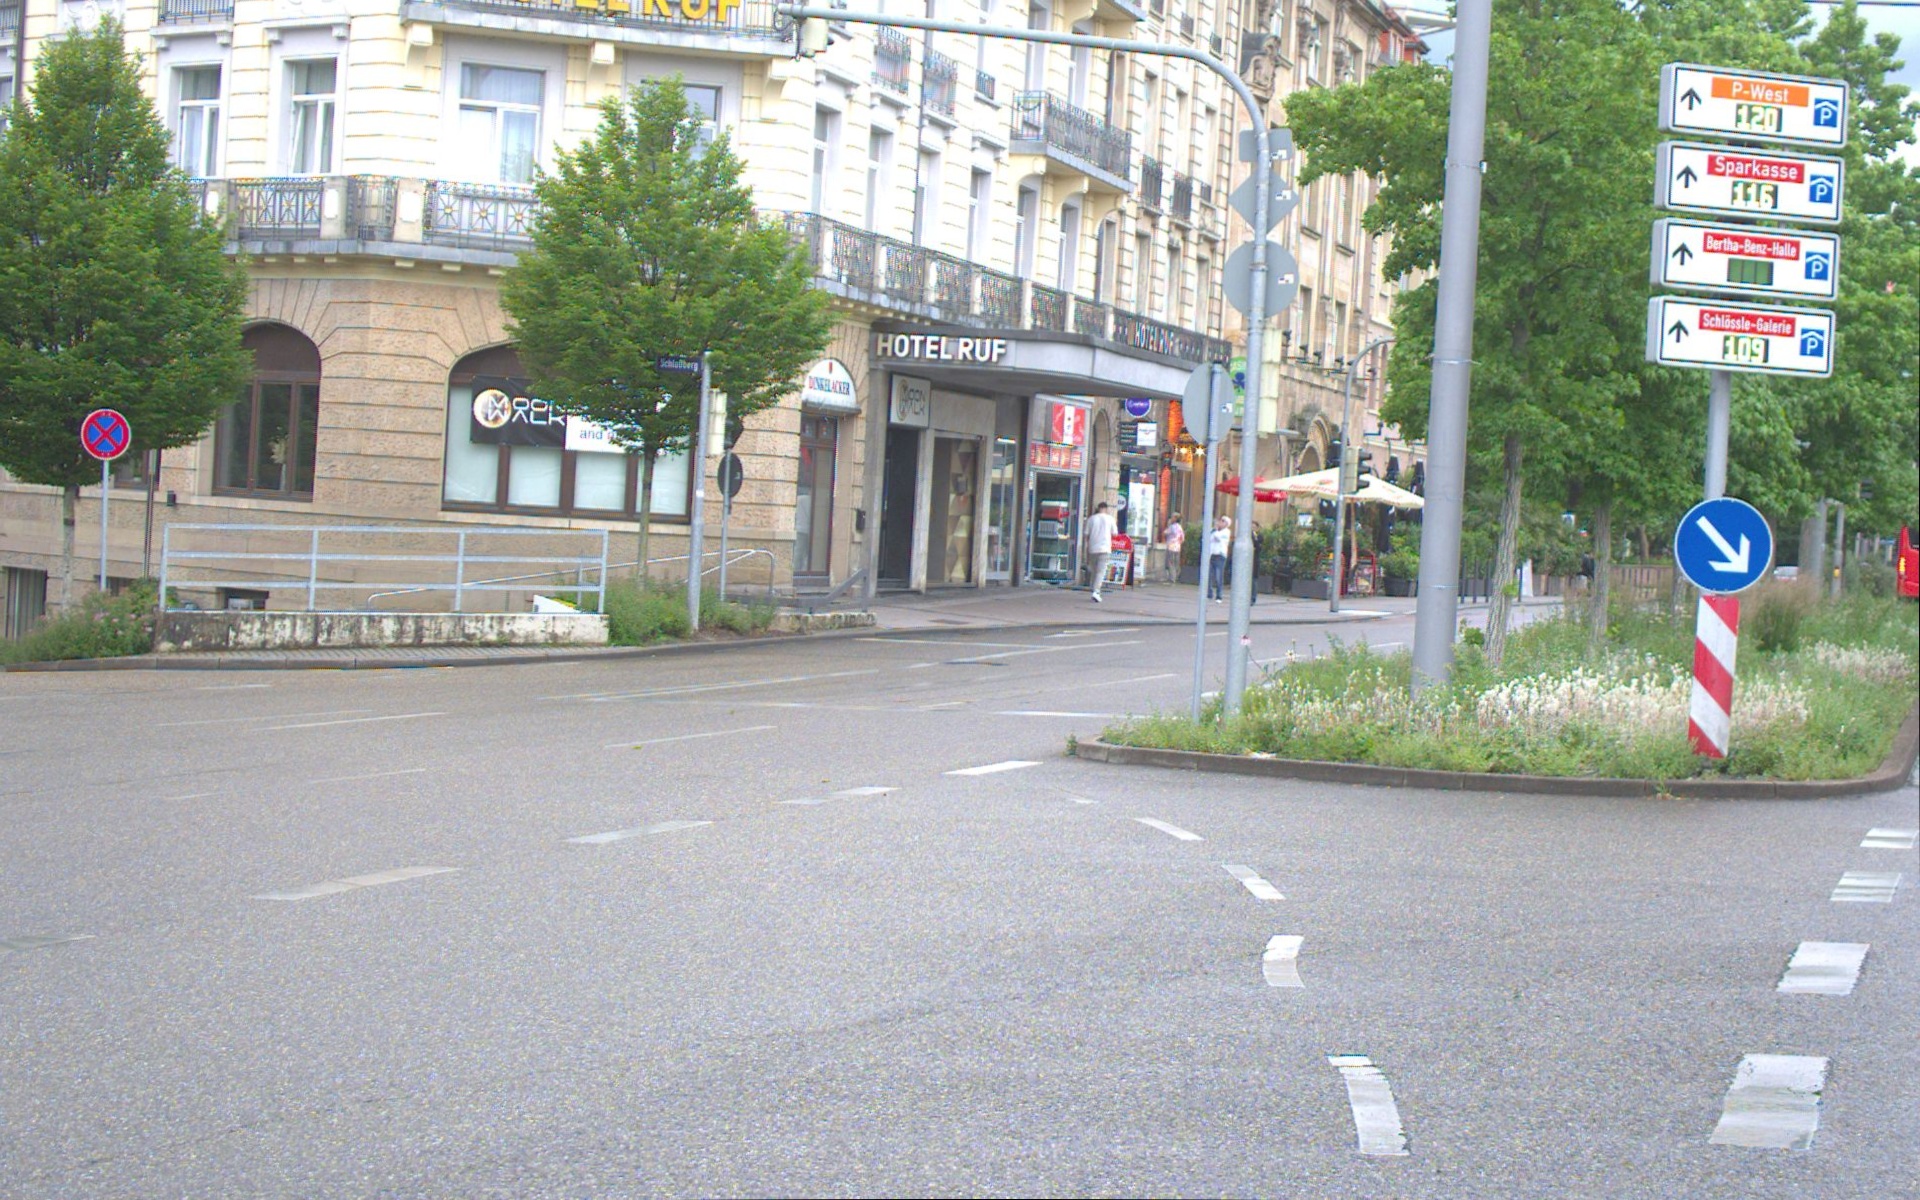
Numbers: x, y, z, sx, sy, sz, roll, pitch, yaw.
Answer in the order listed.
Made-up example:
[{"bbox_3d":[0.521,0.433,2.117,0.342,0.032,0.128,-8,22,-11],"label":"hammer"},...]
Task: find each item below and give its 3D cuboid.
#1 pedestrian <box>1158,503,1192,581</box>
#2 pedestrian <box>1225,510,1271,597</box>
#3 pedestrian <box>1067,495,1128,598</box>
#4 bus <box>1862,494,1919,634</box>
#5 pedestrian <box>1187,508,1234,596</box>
[{"bbox_3d":[4.624,-1.250,73.920,0.667,1.658,0.536,1,0,9],"label":"pedestrian"},{"bbox_3d":[5.528,-0.888,65.904,0.682,1.658,0.806,1,0,18],"label":"pedestrian"},{"bbox_3d":[2.434,-0.947,60.782,0.880,1.806,0.750,1,0,17],"label":"pedestrian"},{"bbox_3d":[29.124,-1.050,103.316,3.547,3.966,11.163,1,1,16],"label":"bus"},{"bbox_3d":[4.817,-0.922,66.186,0.682,1.658,0.806,1,0,20],"label":"pedestrian"}]
